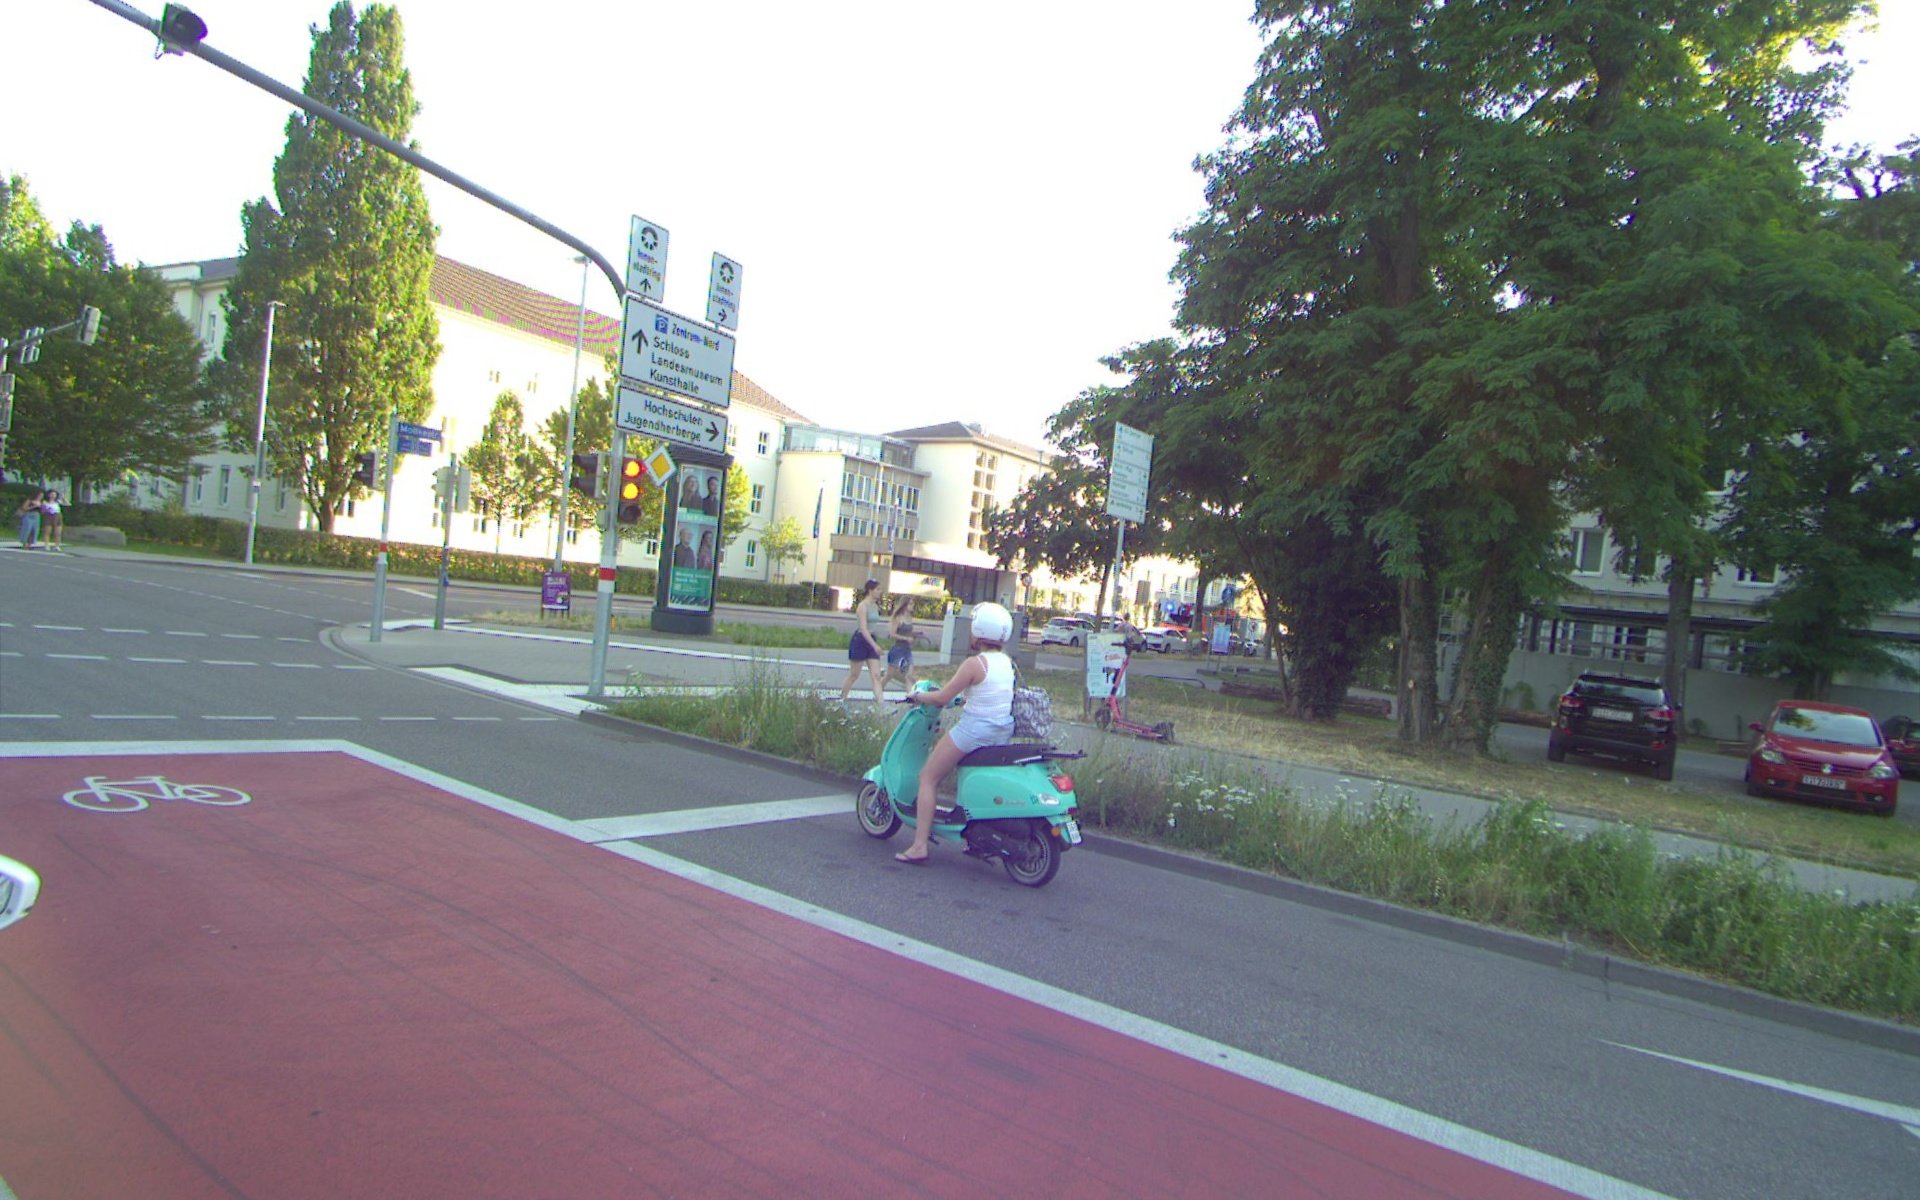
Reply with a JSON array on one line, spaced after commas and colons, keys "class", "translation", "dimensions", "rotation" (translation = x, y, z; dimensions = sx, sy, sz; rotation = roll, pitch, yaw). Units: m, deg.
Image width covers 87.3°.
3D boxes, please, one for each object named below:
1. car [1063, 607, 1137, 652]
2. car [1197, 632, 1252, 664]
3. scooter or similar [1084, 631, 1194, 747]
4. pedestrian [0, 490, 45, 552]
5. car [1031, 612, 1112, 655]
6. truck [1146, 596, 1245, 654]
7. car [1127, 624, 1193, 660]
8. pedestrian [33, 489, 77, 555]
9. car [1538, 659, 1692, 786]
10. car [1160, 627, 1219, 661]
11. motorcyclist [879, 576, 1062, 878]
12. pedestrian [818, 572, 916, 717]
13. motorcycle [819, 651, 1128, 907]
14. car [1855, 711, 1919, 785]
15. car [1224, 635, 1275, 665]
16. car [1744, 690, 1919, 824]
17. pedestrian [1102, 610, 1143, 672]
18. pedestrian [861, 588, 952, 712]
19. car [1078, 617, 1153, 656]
[{"class": "car", "translation": [7.739, 1.647, 55.275], "dimensions": [2.024, 1.884, 4.486], "rotation": [7, -2, 35]}, {"class": "car", "translation": [16.740, 3.032, 63.524], "dimensions": [1.969, 1.660, 3.987], "rotation": [7, 0, 35]}, {"class": "scooter or similar", "translation": [2.264, 1.107, 12.756], "dimensions": [1.159, 1.288, 0.440], "rotation": [7, 1, 31]}, {"class": "pedestrian", "translation": [-26.581, -2.232, 28.508], "dimensions": [0.831, 1.643, 0.681], "rotation": [8, 2, 32]}, {"class": "car", "translation": [5.328, 1.598, 47.677], "dimensions": [1.872, 1.660, 3.983], "rotation": [7, 0, 38]}, {"class": "truck", "translation": [15.932, 1.774, 67.364], "dimensions": [2.599, 3.179, 10.243], "rotation": [6, 0, 35]}, {"class": "car", "translation": [11.001, 2.315, 55.179], "dimensions": [1.969, 1.660, 3.987], "rotation": [7, 0, 35]}, {"class": "pedestrian", "translation": [-26.179, -2.244, 29.108], "dimensions": [0.677, 1.776, 0.681], "rotation": [8, 2, 31]}, {"class": "car", "translation": [11.771, 2.090, 17.950], "dimensions": [1.890, 1.762, 4.223], "rotation": [7, 0, 37]}, {"class": "car", "translation": [13.709, 2.650, 59.977], "dimensions": [1.969, 1.660, 3.987], "rotation": [7, 0, 35]}, {"class": "motorcyclist", "translation": [0.072, 0.785, 6.491], "dimensions": [0.680, 1.758, 0.737], "rotation": [7, 1, 40]}, {"class": "pedestrian", "translation": [-1.151, 0.547, 12.506], "dimensions": [0.764, 1.681, 0.719], "rotation": [7, 1, 34]}, {"class": "motorcycle", "translation": [0.033, 1.066, 6.495], "dimensions": [1.866, 1.212, 0.681], "rotation": [7, 0, 40]}, {"class": "car", "translation": [22.999, 3.583, 24.039], "dimensions": [1.742, 1.477, 3.618], "rotation": [7, 0, 33]}, {"class": "car", "translation": [19.663, 3.403, 68.202], "dimensions": [1.969, 1.660, 3.987], "rotation": [7, 0, 35]}, {"class": "car", "translation": [14.053, 2.420, 16.372], "dimensions": [1.890, 1.631, 3.984], "rotation": [7, 0, 38]}, {"class": "pedestrian", "translation": [4.895, 1.235, 30.301], "dimensions": [0.694, 1.761, 0.892], "rotation": [7, 1, 40]}, {"class": "pedestrian", "translation": [-0.715, 0.667, 13.479], "dimensions": [0.776, 1.542, 0.735], "rotation": [7, 1, 34]}, {"class": "car", "translation": [7.954, 1.874, 51.263], "dimensions": [1.970, 1.632, 3.985], "rotation": [7, 0, 37]}]
